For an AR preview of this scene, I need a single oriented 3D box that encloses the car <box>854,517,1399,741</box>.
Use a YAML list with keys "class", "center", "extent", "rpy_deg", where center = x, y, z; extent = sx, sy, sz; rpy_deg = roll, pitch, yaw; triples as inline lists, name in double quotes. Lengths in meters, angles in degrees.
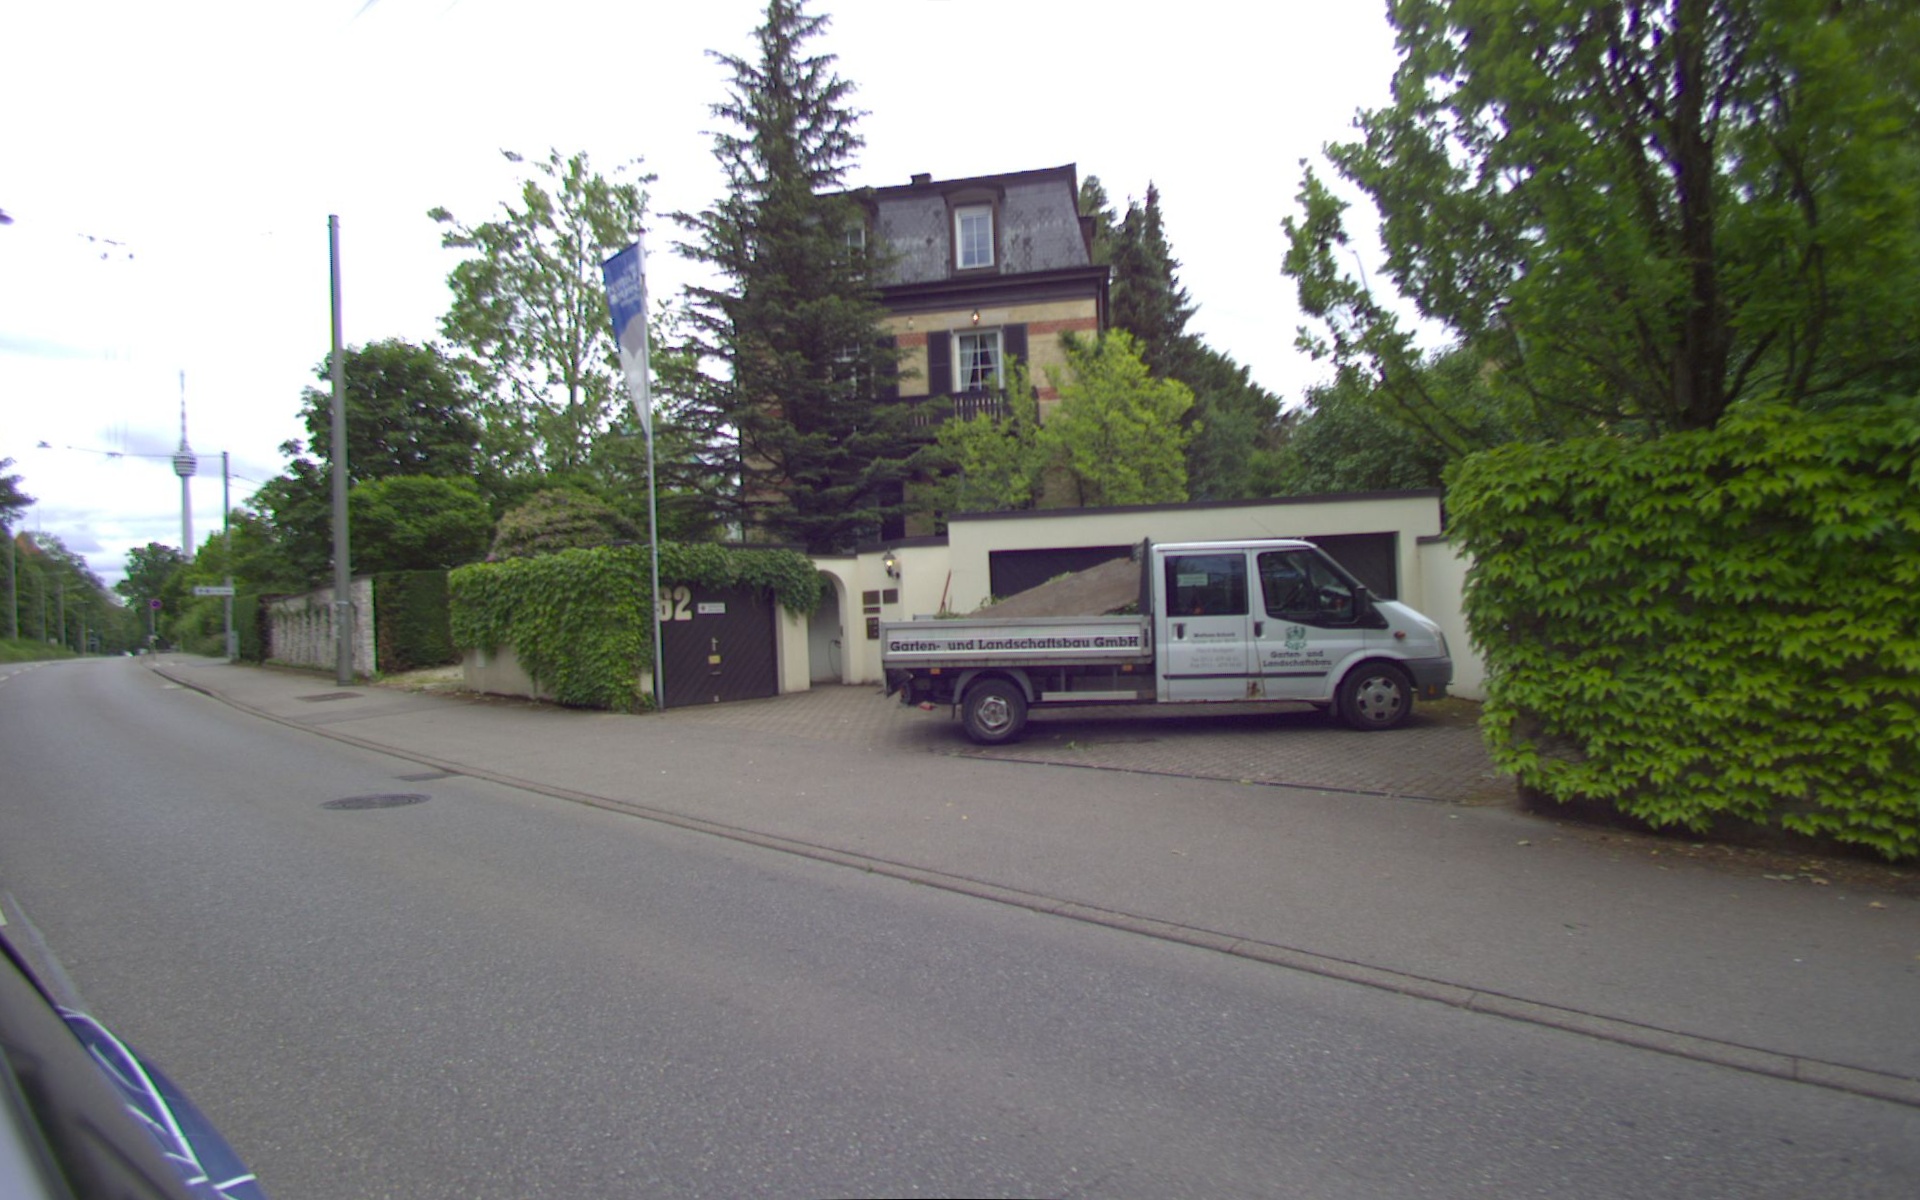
- class: "car"
  center: [1.709, 0.330, 11.296]
  extent: [5.298, 2.088, 2.420]
  rpy_deg: [-2, 0, 8]
